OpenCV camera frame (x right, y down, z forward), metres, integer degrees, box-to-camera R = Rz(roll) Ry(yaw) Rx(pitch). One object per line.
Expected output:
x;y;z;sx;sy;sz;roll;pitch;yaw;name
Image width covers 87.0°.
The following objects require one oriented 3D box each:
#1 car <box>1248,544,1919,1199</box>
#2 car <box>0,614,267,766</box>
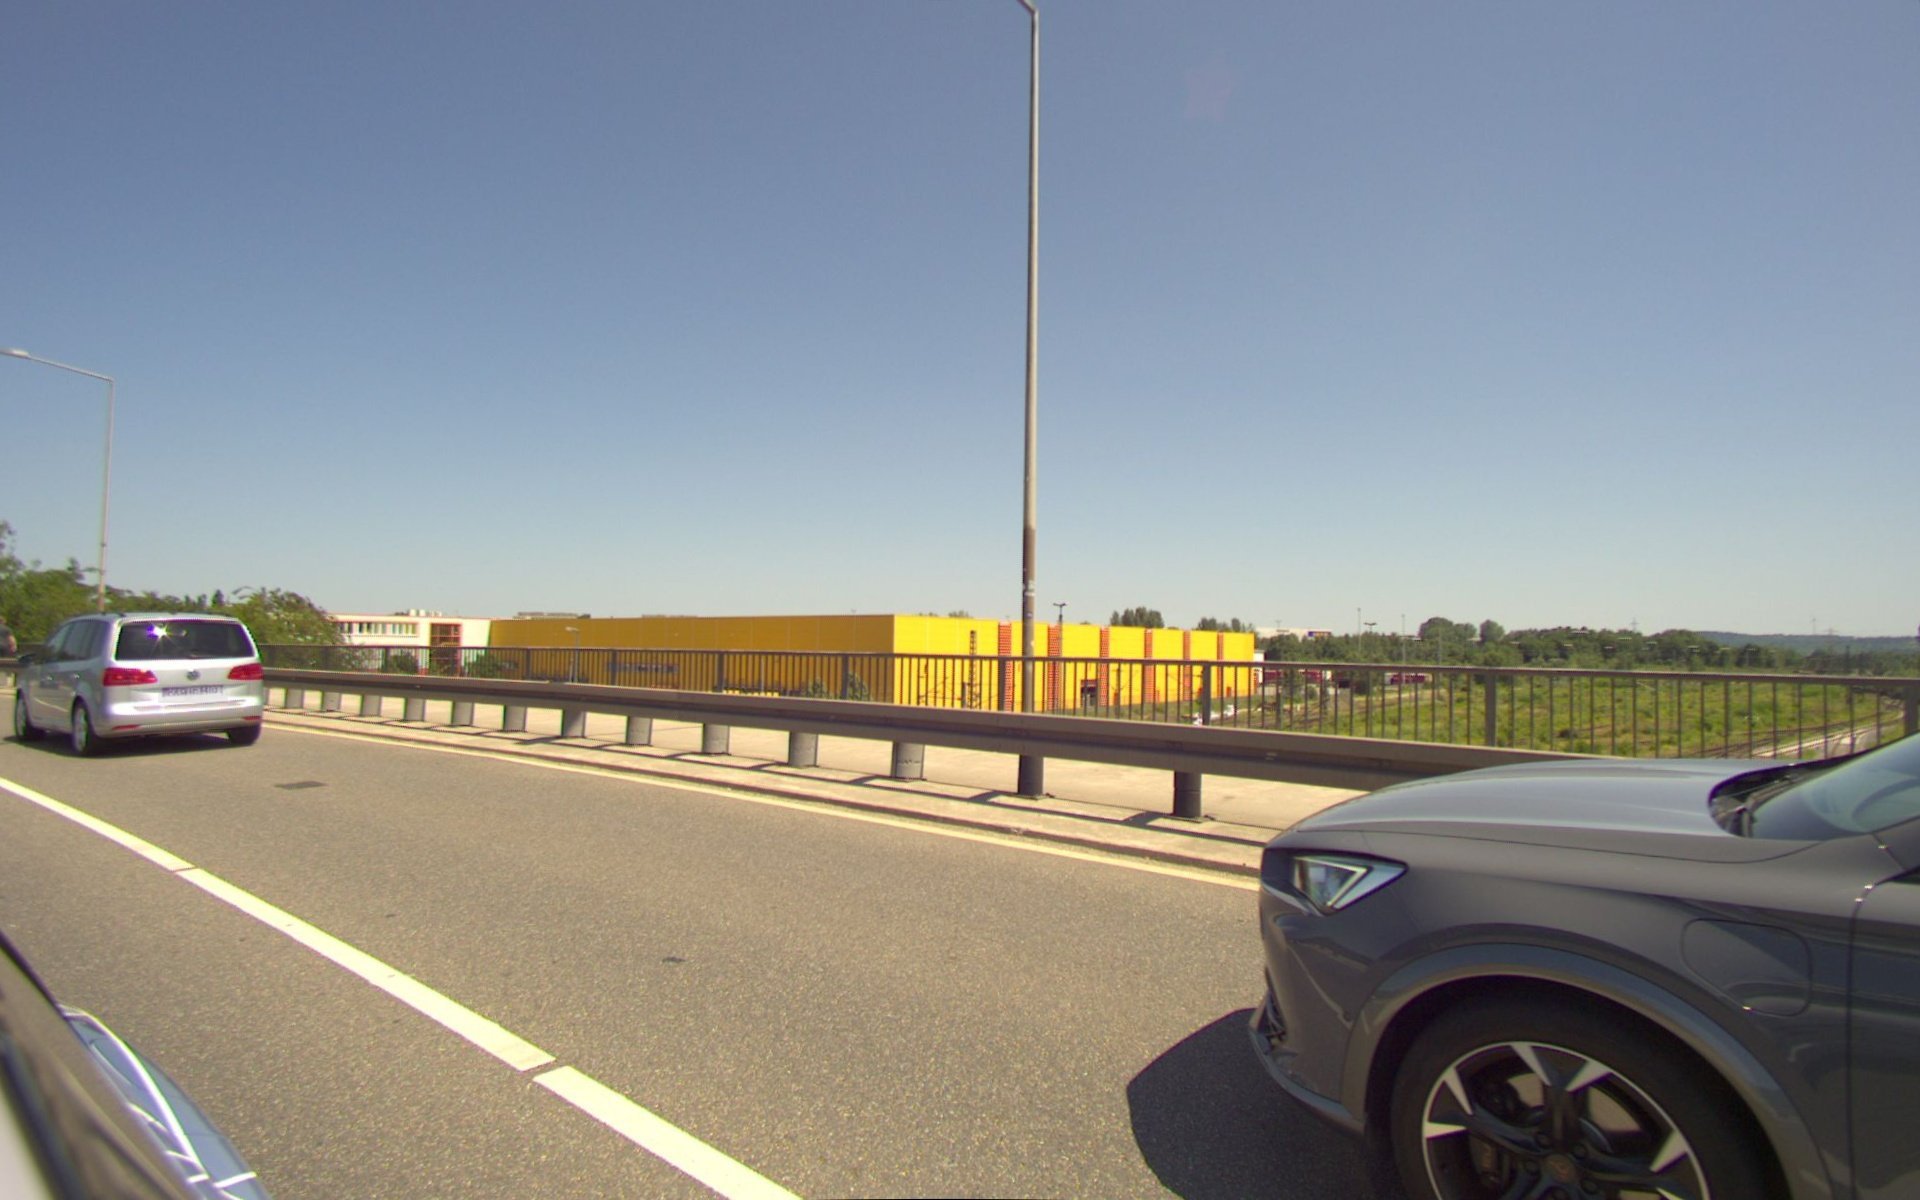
2.832;0.666;1.673;4.192;1.519;1.756;-2;-2;41;car
-10.411;1.010;12.650;3.992;1.620;1.678;-1;-2;37;car
